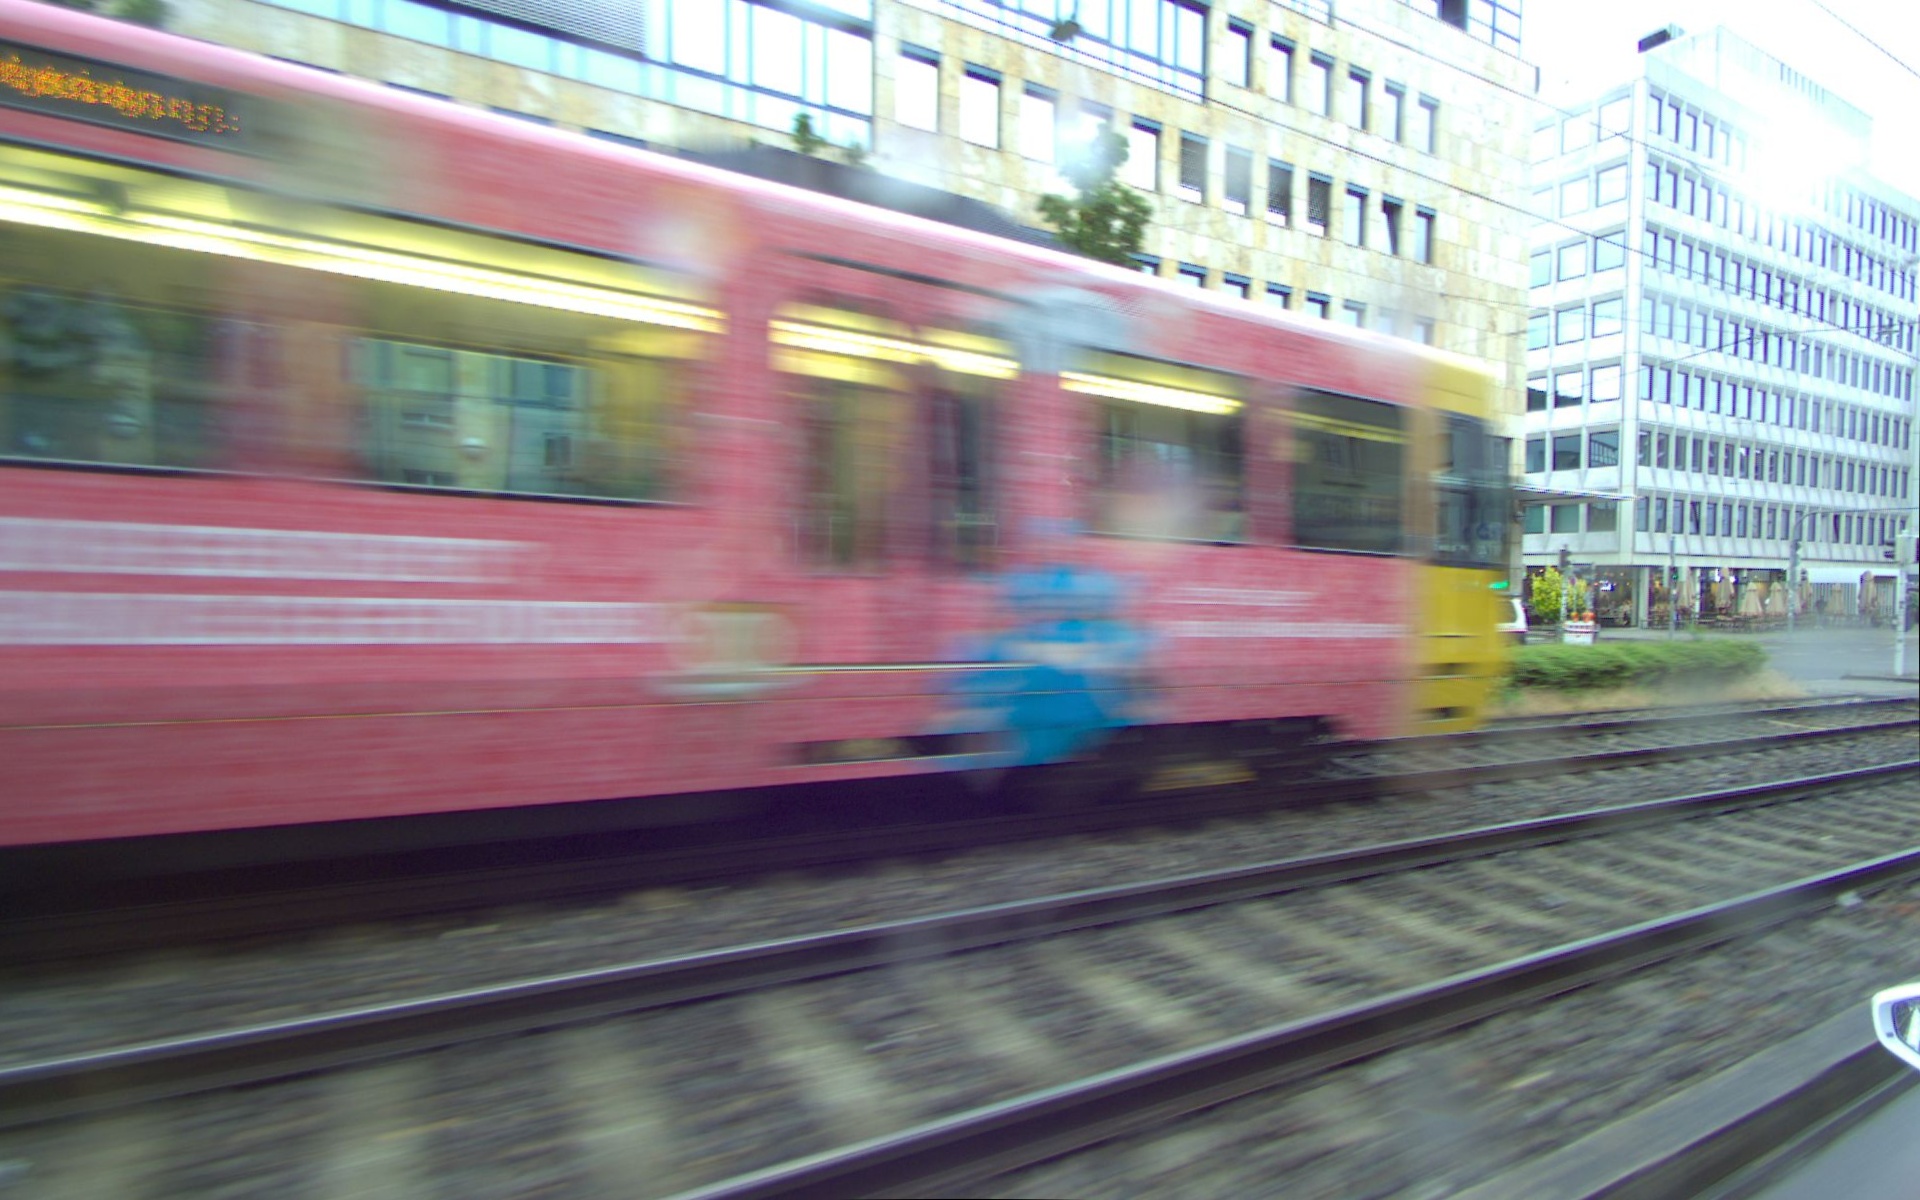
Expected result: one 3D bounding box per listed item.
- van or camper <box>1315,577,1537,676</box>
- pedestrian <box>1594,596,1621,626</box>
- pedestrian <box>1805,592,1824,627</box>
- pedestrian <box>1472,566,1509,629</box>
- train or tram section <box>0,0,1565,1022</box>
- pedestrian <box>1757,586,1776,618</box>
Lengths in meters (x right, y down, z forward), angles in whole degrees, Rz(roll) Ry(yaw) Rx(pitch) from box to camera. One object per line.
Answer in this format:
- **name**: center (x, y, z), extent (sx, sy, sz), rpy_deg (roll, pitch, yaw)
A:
- **van or camper**: center (10.712, 0.602, 22.970), extent (5.137, 2.024, 2.007), rpy_deg (2, 1, -31)
- **pedestrian**: center (34.695, 0.573, 53.825), extent (0.954, 1.553, 0.889), rpy_deg (0, 2, -32)
- **pedestrian**: center (45.927, 0.492, 53.985), extent (0.836, 1.847, 0.560), rpy_deg (0, 2, -35)
- **pedestrian**: center (15.380, -0.077, 29.151), extent (0.689, 1.805, 0.679), rpy_deg (1, 2, 4)
- **train or tram section**: center (-3.694, -0.622, 4.812), extent (18.552, 4.104, 2.887), rpy_deg (2, 0, -31)
- **pedestrian**: center (45.116, 0.130, 56.164), extent (0.836, 1.772, 0.560), rpy_deg (0, 2, -35)
